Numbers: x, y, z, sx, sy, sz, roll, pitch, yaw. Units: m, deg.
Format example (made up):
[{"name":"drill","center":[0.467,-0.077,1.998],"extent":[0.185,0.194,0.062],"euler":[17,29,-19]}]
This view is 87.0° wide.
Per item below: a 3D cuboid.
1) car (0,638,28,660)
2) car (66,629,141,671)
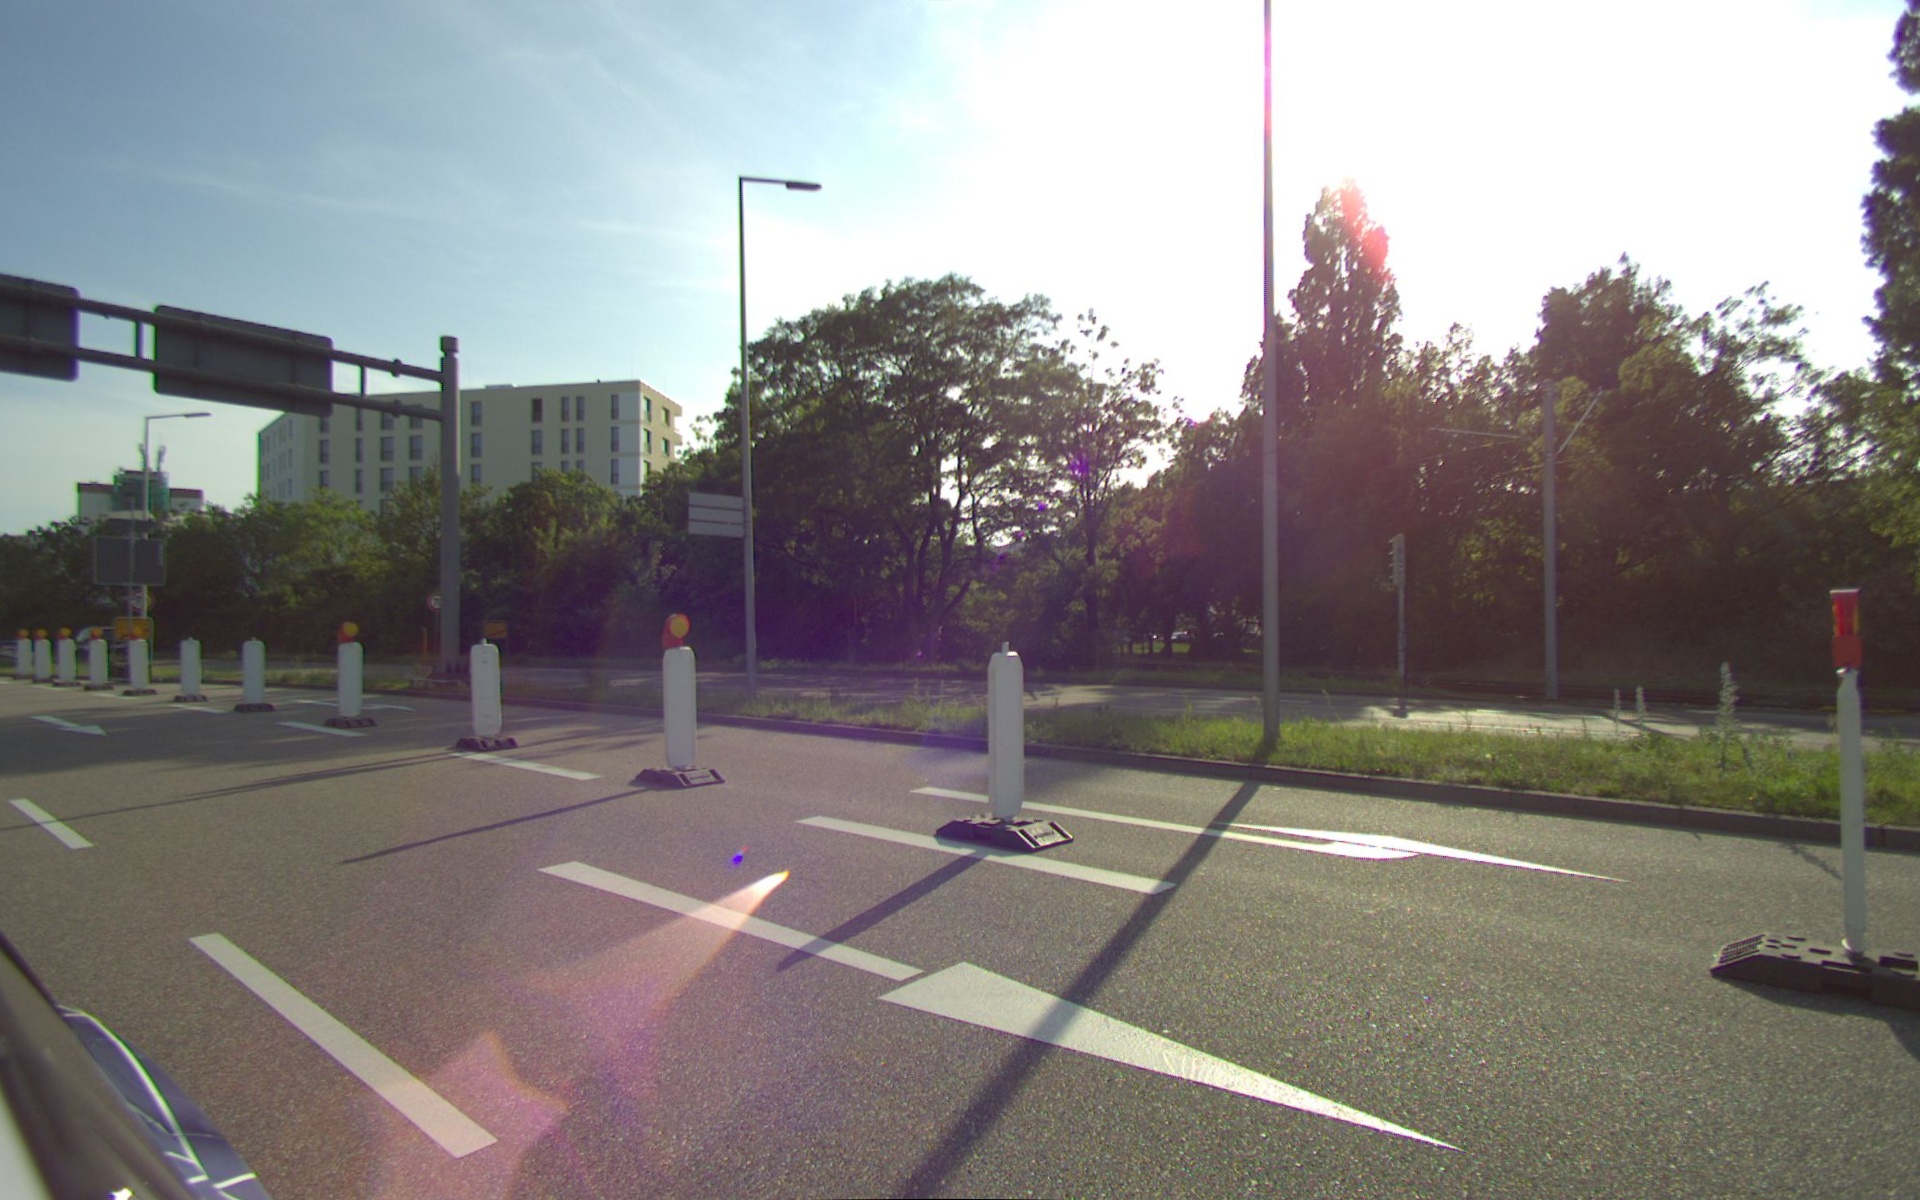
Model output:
[{"name":"car","center":[-51.659,2.635,54.465],"extent":[3.664,1.166,1.498],"euler":[-2,-1,36]},{"name":"car","center":[-39.666,2.283,46.826],"extent":[4.116,1.820,1.769],"euler":[-2,-2,37]}]
